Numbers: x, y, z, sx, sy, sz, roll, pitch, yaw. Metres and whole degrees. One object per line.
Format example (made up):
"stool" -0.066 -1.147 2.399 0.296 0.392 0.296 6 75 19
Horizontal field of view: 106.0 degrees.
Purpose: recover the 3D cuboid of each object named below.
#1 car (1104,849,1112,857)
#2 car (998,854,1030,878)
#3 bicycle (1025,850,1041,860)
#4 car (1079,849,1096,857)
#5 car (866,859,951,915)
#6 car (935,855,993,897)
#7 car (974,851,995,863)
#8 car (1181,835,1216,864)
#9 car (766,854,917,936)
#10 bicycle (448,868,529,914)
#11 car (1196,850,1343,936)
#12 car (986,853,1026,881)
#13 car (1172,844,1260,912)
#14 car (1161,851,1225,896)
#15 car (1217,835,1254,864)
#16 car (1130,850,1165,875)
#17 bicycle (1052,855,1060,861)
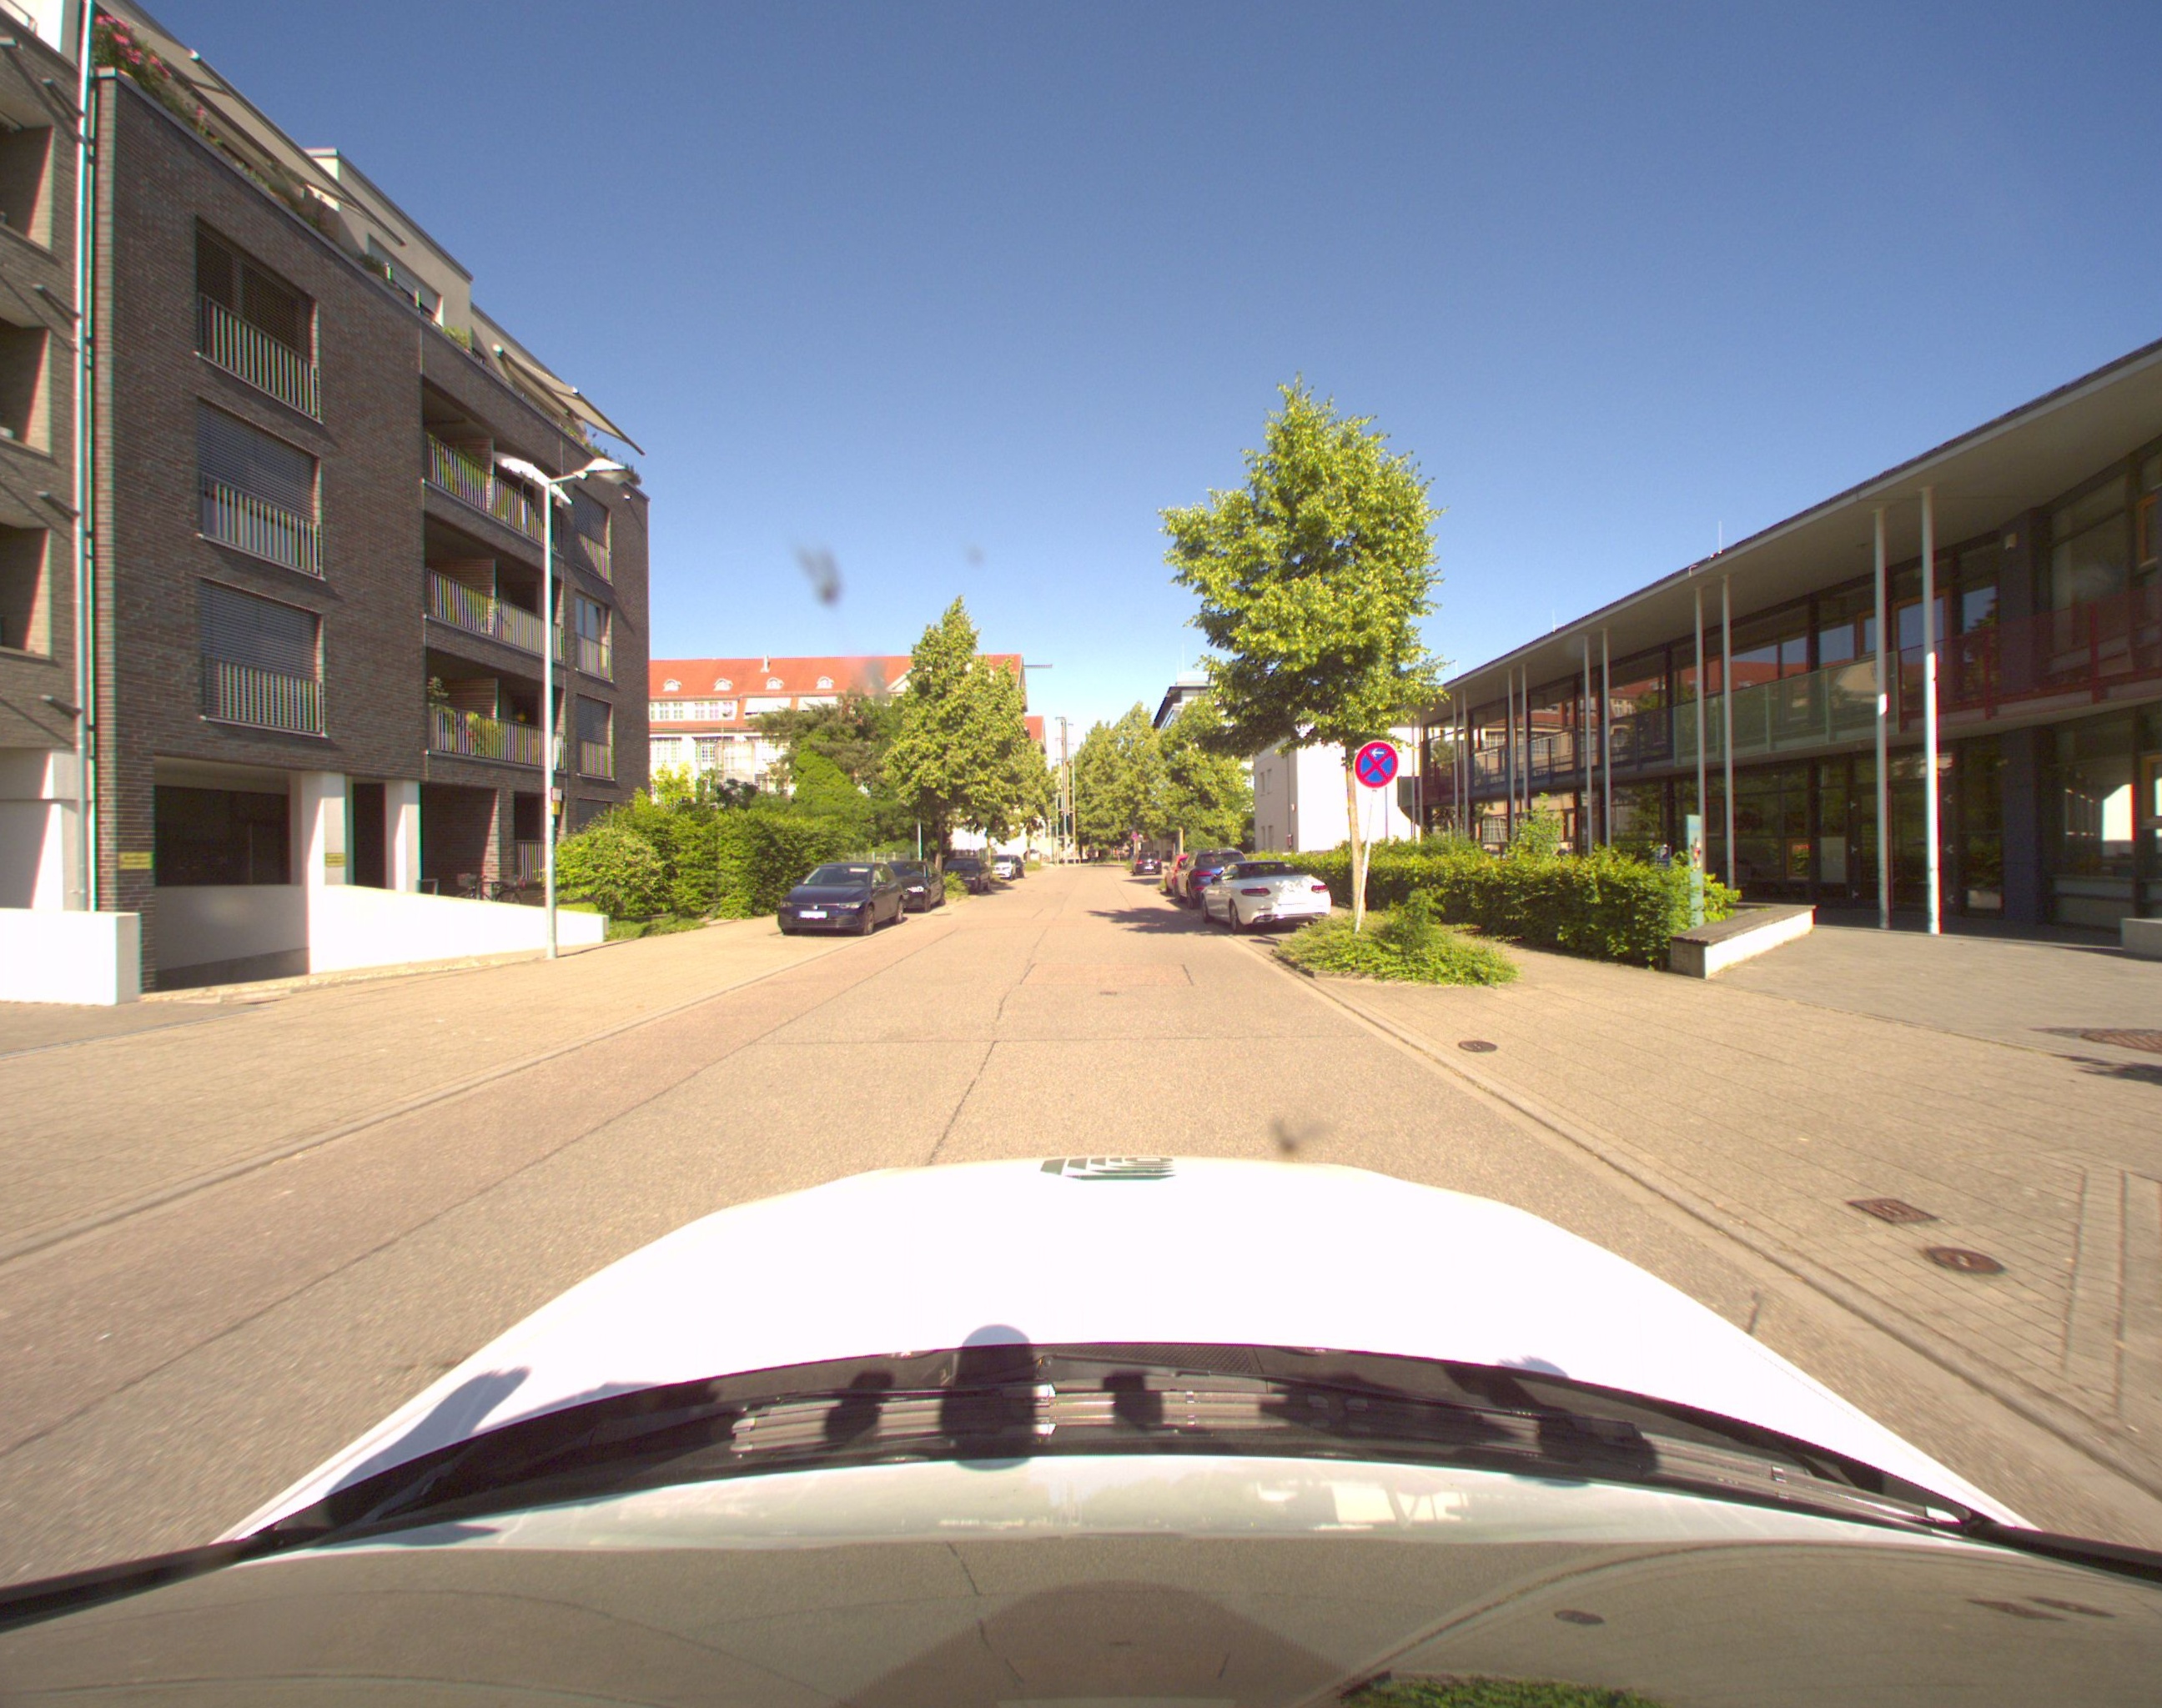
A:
"car" 6.788 -0.304 203.572 1.986 2.013 4.001 -1 1 1
"car" -4.263 0.749 52.025 1.695 1.471 3.462 -1 0 1
"bicycle" -4.201 0.118 71.293 1.464 0.842 0.335 -1 0 -4
"car" 1.583 -0.238 202.253 3.972 2.013 2.001 -1 1 1
"car" -4.945 0.899 23.739 1.624 1.501 3.578 -1 0 1
"car" -4.701 0.843 33.136 1.688 1.605 3.942 -1 0 1
"car" -8.599 0.254 72.546 1.755 1.007 0.879 -1 1 3
"car" 8.579 -0.280 59.618 2.017 2.013 4.001 -1 0 1
"car" -4.989 0.802 17.575 1.753 1.527 4.005 1 0 4
"bicycle" -12.192 0.747 16.810 0.252 0.837 1.776 -1 1 4
"car" 3.679 0.733 16.734 1.825 1.422 4.229 -3 -1 -2
"car" -4.242 0.725 46.585 1.771 1.530 4.001 -1 0 1
"car" 3.822 0.650 23.724 1.815 1.718 4.119 -3 0 0
"car" 4.014 0.676 29.696 1.828 1.516 3.880 -1 -1 0
"car" 11.253 -0.280 59.621 1.986 2.013 4.001 -1 0 1
"car" 4.316 0.538 53.211 1.986 1.486 4.001 -1 0 1
"bicycle" -2.801 0.435 91.234 0.375 0.683 1.068 -1 1 -36
